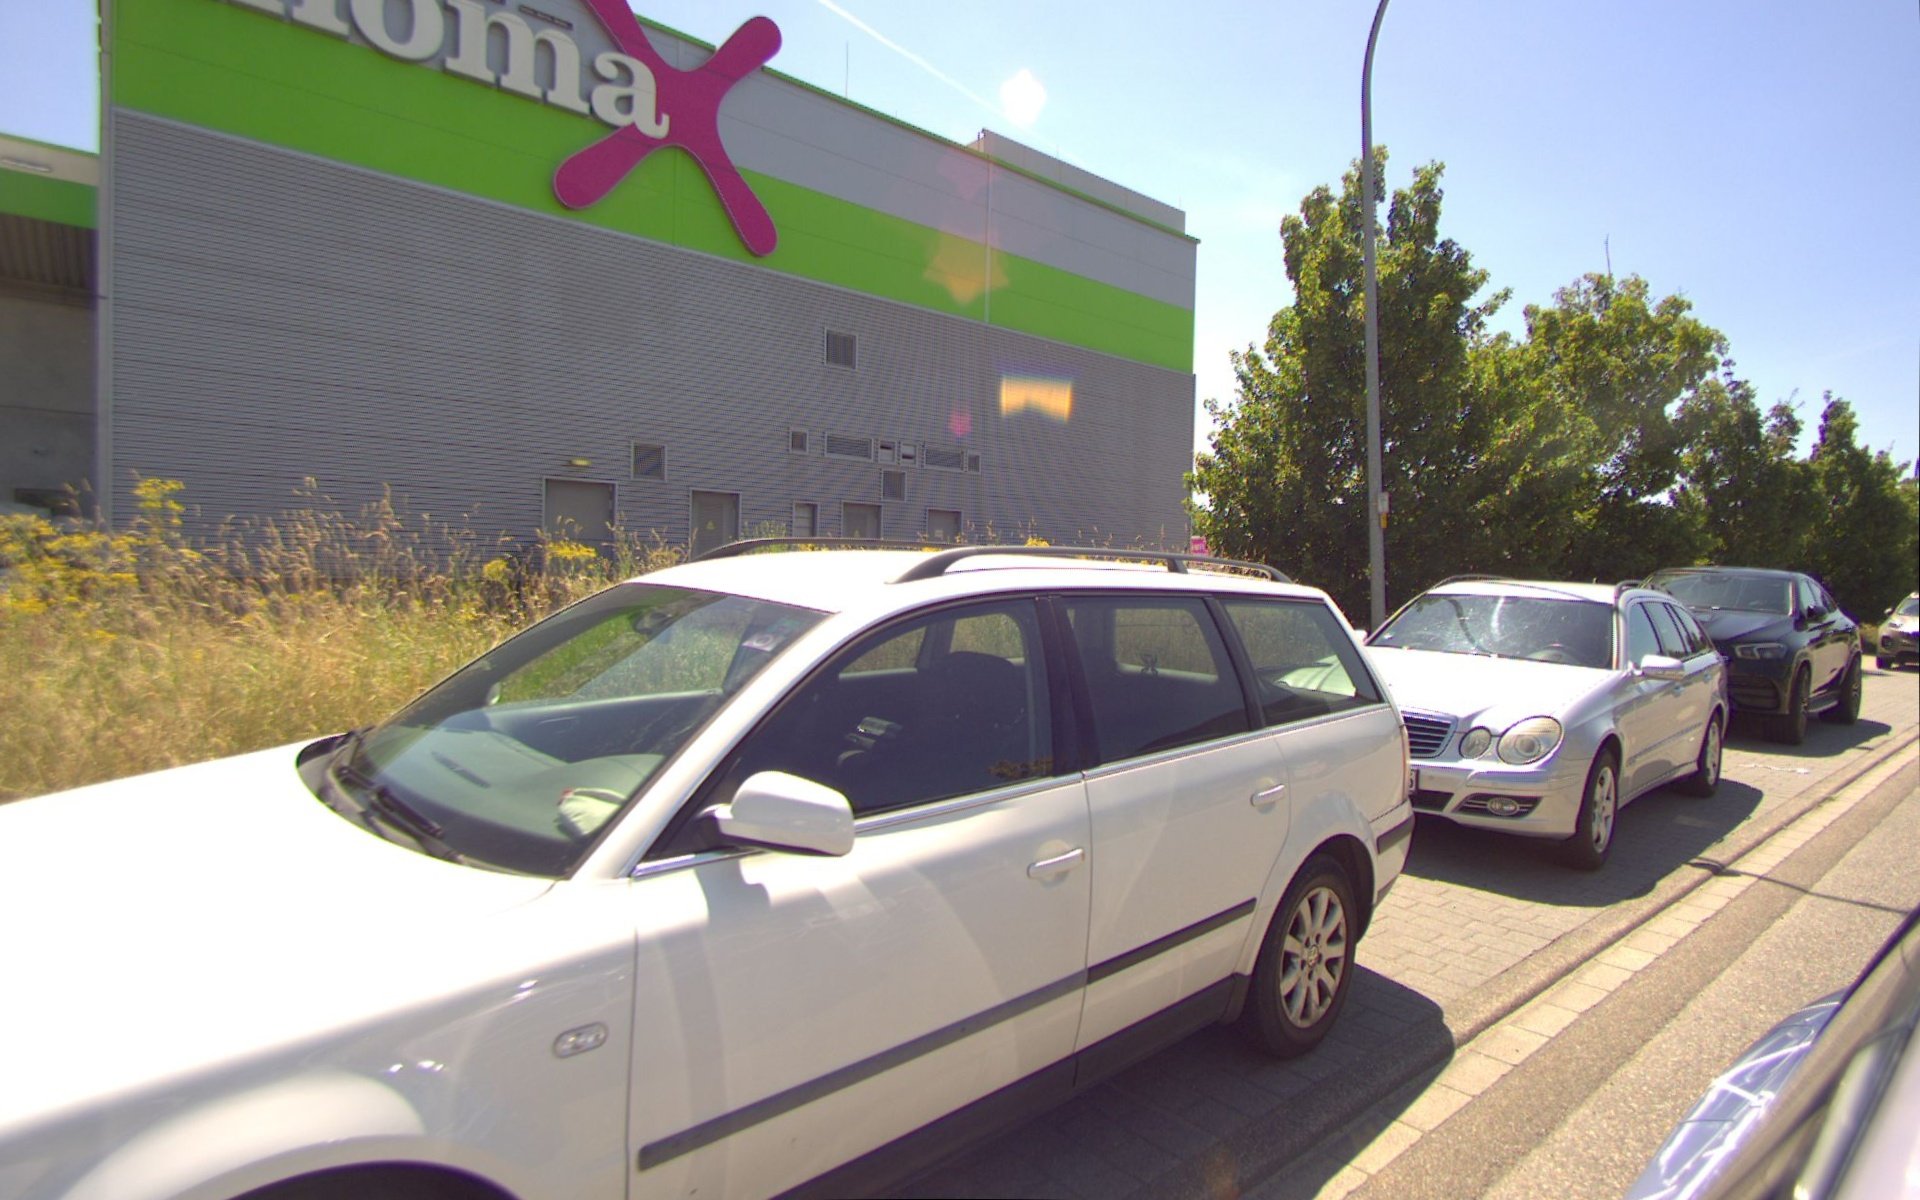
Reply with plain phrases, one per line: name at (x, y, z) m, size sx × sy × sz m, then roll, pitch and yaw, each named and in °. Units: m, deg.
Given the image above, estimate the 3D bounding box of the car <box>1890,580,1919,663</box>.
car at (21.345, 0.484, 21.481) m, size 4.380 × 1.655 × 1.809 m, roll 0°, pitch 4°, yaw -41°

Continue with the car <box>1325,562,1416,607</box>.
car at (18.556, -0.684, 45.660) m, size 4.323 × 1.808 × 1.998 m, roll 2°, pitch 1°, yaw -41°

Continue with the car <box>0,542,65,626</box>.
car at (-19.092, -0.374, 20.268) m, size 1.521 × 1.552 × 3.397 m, roll 0°, pitch 3°, yaw -38°

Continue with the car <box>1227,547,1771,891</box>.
car at (3.892, 0.495, 6.833) m, size 4.694 × 1.500 × 1.807 m, roll 0°, pitch 4°, yaw -44°

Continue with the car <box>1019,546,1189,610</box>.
car at (3.778, -0.569, 26.186) m, size 4.324 × 1.517 × 1.998 m, roll 0°, pitch 3°, yaw -41°

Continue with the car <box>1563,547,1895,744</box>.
car at (8.691, 0.377, 11.292) m, size 4.464 × 1.721 × 1.954 m, roll 0°, pitch 4°, yaw -40°

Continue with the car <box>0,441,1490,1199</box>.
car at (-0.360, 0.532, 2.748) m, size 4.694 × 1.500 × 1.716 m, roll 0°, pitch 4°, yaw -44°
